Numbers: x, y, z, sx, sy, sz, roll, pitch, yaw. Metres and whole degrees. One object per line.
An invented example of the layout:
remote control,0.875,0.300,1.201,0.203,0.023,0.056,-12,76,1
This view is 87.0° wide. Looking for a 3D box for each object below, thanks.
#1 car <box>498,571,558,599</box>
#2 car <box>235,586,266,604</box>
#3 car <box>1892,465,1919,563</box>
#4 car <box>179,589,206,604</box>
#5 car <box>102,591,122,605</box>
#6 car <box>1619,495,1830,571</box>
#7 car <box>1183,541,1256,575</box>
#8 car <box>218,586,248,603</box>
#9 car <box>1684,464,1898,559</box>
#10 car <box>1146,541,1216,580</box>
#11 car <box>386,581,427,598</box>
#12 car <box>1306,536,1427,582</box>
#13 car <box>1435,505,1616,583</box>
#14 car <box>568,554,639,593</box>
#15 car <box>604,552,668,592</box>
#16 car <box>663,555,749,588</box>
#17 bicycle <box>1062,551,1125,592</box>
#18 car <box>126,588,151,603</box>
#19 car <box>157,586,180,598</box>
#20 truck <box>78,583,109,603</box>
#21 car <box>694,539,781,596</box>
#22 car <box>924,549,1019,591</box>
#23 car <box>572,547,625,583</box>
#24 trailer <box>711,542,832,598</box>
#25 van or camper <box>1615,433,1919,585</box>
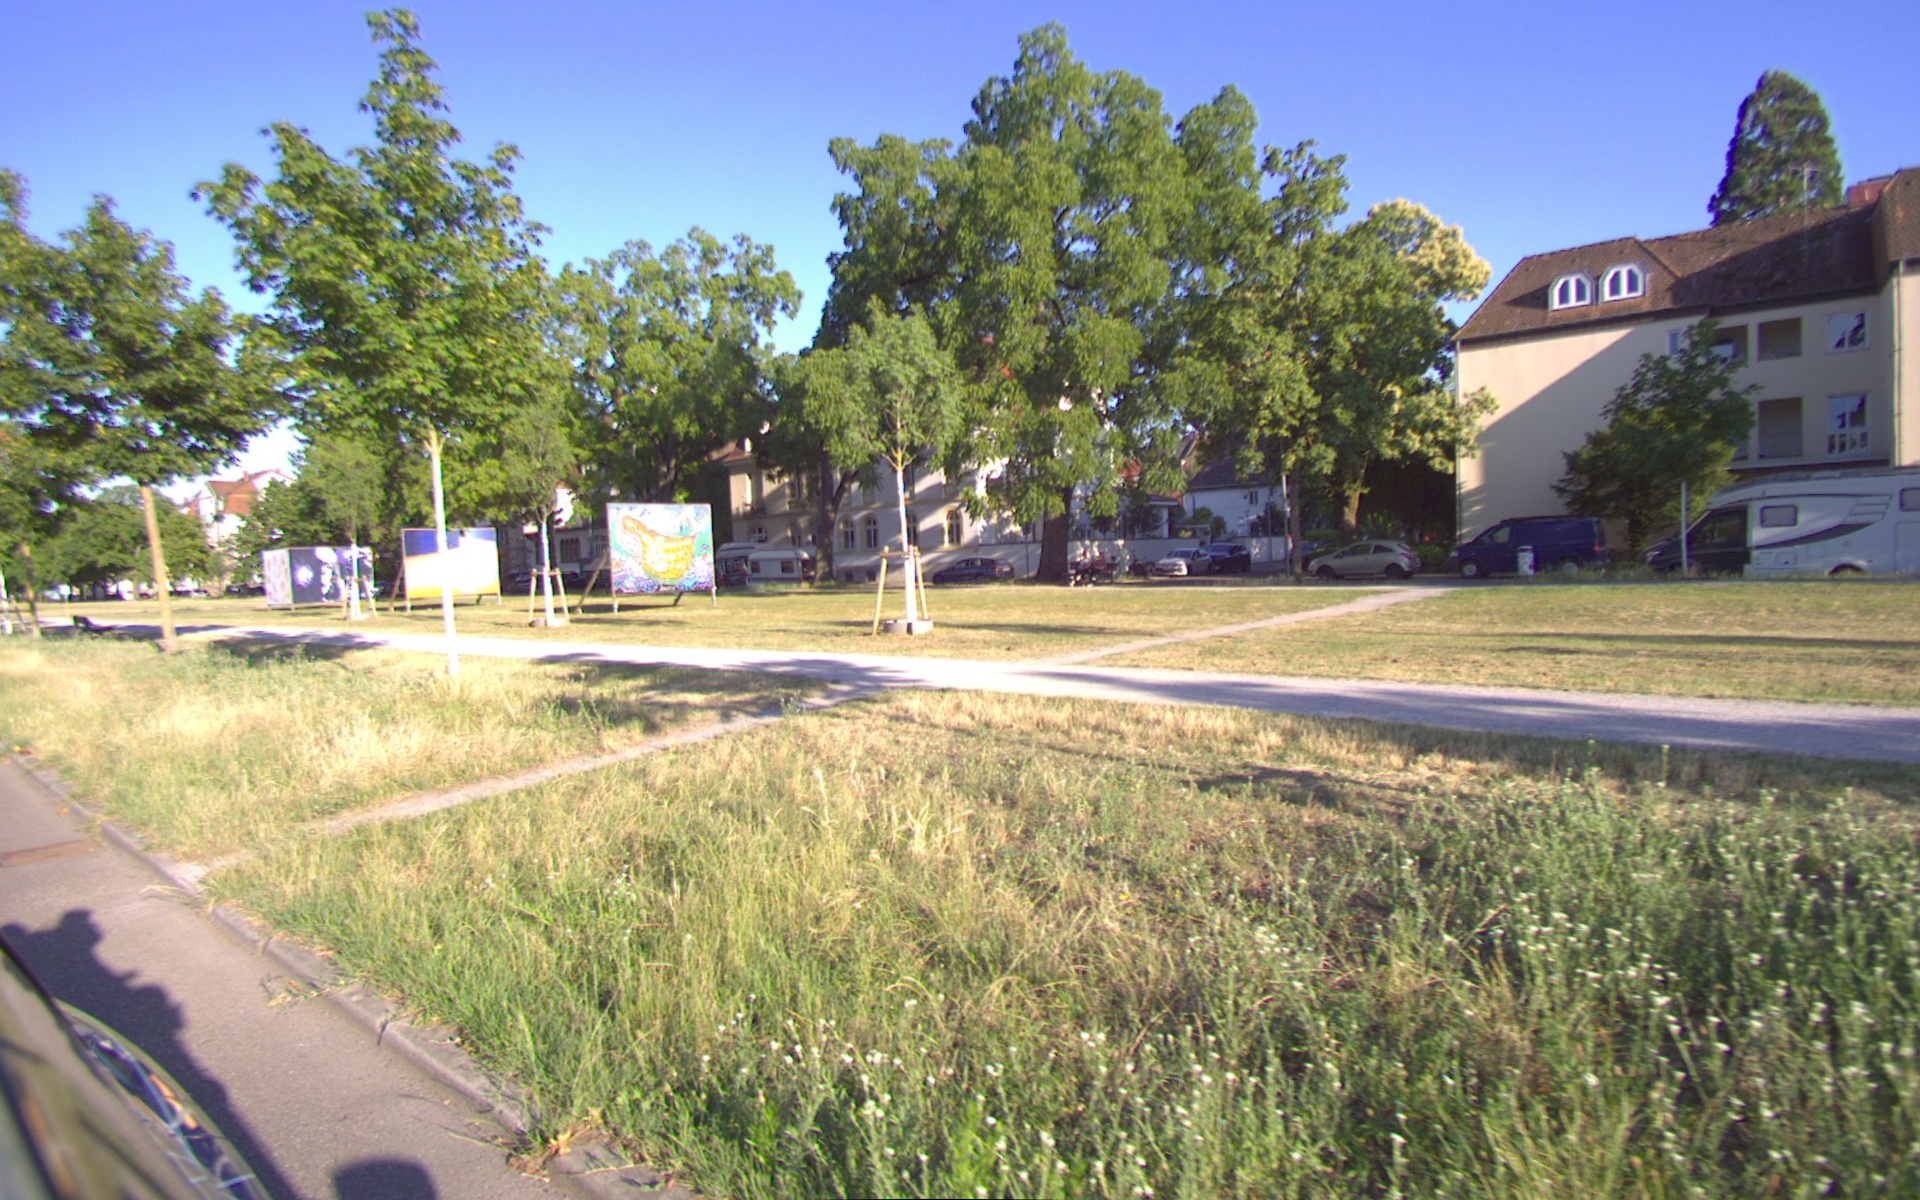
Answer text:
car,-29.754,-1.050,69.684,4.341,1.741,1.974,-1,2,40
car,-78.842,-0.562,112.511,3.999,1.858,1.972,1,0,42
car,28.799,-2.356,26.709,6.087,2.617,1.973,1,0,41
car,-98.999,-0.471,130.459,3.998,1.715,1.973,-1,2,41
car,-137.647,-0.308,164.293,4.001,2.028,1.972,-1,2,44
car,23.398,-2.007,31.101,5.048,2.019,1.949,0,3,42
car,14.941,-2.441,58.089,2.070,1.782,5.002,-1,3,40
car,-83.978,-0.638,116.925,3.999,1.858,1.972,1,0,42
car,20.704,-2.149,25.335,3.999,2.028,1.973,-1,2,42
car,11.741,-2.118,53.613,1.977,1.914,4.472,-1,2,36
car,-53.632,-1.024,98.109,3.993,1.510,1.976,-2,2,37
car,15.320,-1.544,38.167,3.806,1.554,1.974,-1,3,39
car,19.265,-1.831,34.611,5.116,2.437,1.916,1,0,42
car,-22.211,-1.630,62.942,4.566,2.190,1.974,-1,2,39
car,-22.865,-1.942,71.295,5.042,2.659,1.925,1,0,41
car,-14.066,-1.577,55.889,4.947,1.654,1.974,0,4,40
bicycle,4.663,-0.996,35.511,2.331,1.352,0.505,0,2,45
car,-122.505,-0.673,150.871,3.997,2.029,2.099,1,0,40
car,-124.032,-1.205,158.592,3.995,1.859,1.974,1,0,38
truck,-149.585,-1.145,174.640,7.704,3.169,2.750,0,3,40
car,-13.967,-2.018,63.323,6.071,3.273,1.973,-1,2,41
car,0.541,-1.476,50.932,4.713,1.926,1.870,-1,2,42
car,-26.581,-2.555,74.395,3.999,2.560,1.973,2,4,41
trailer,-9.742,-1.481,51.962,6.632,2.679,2.448,1,0,41
van or camper,20.704,-2.149,25.335,6.902,3.286,2.614,-1,2,42
